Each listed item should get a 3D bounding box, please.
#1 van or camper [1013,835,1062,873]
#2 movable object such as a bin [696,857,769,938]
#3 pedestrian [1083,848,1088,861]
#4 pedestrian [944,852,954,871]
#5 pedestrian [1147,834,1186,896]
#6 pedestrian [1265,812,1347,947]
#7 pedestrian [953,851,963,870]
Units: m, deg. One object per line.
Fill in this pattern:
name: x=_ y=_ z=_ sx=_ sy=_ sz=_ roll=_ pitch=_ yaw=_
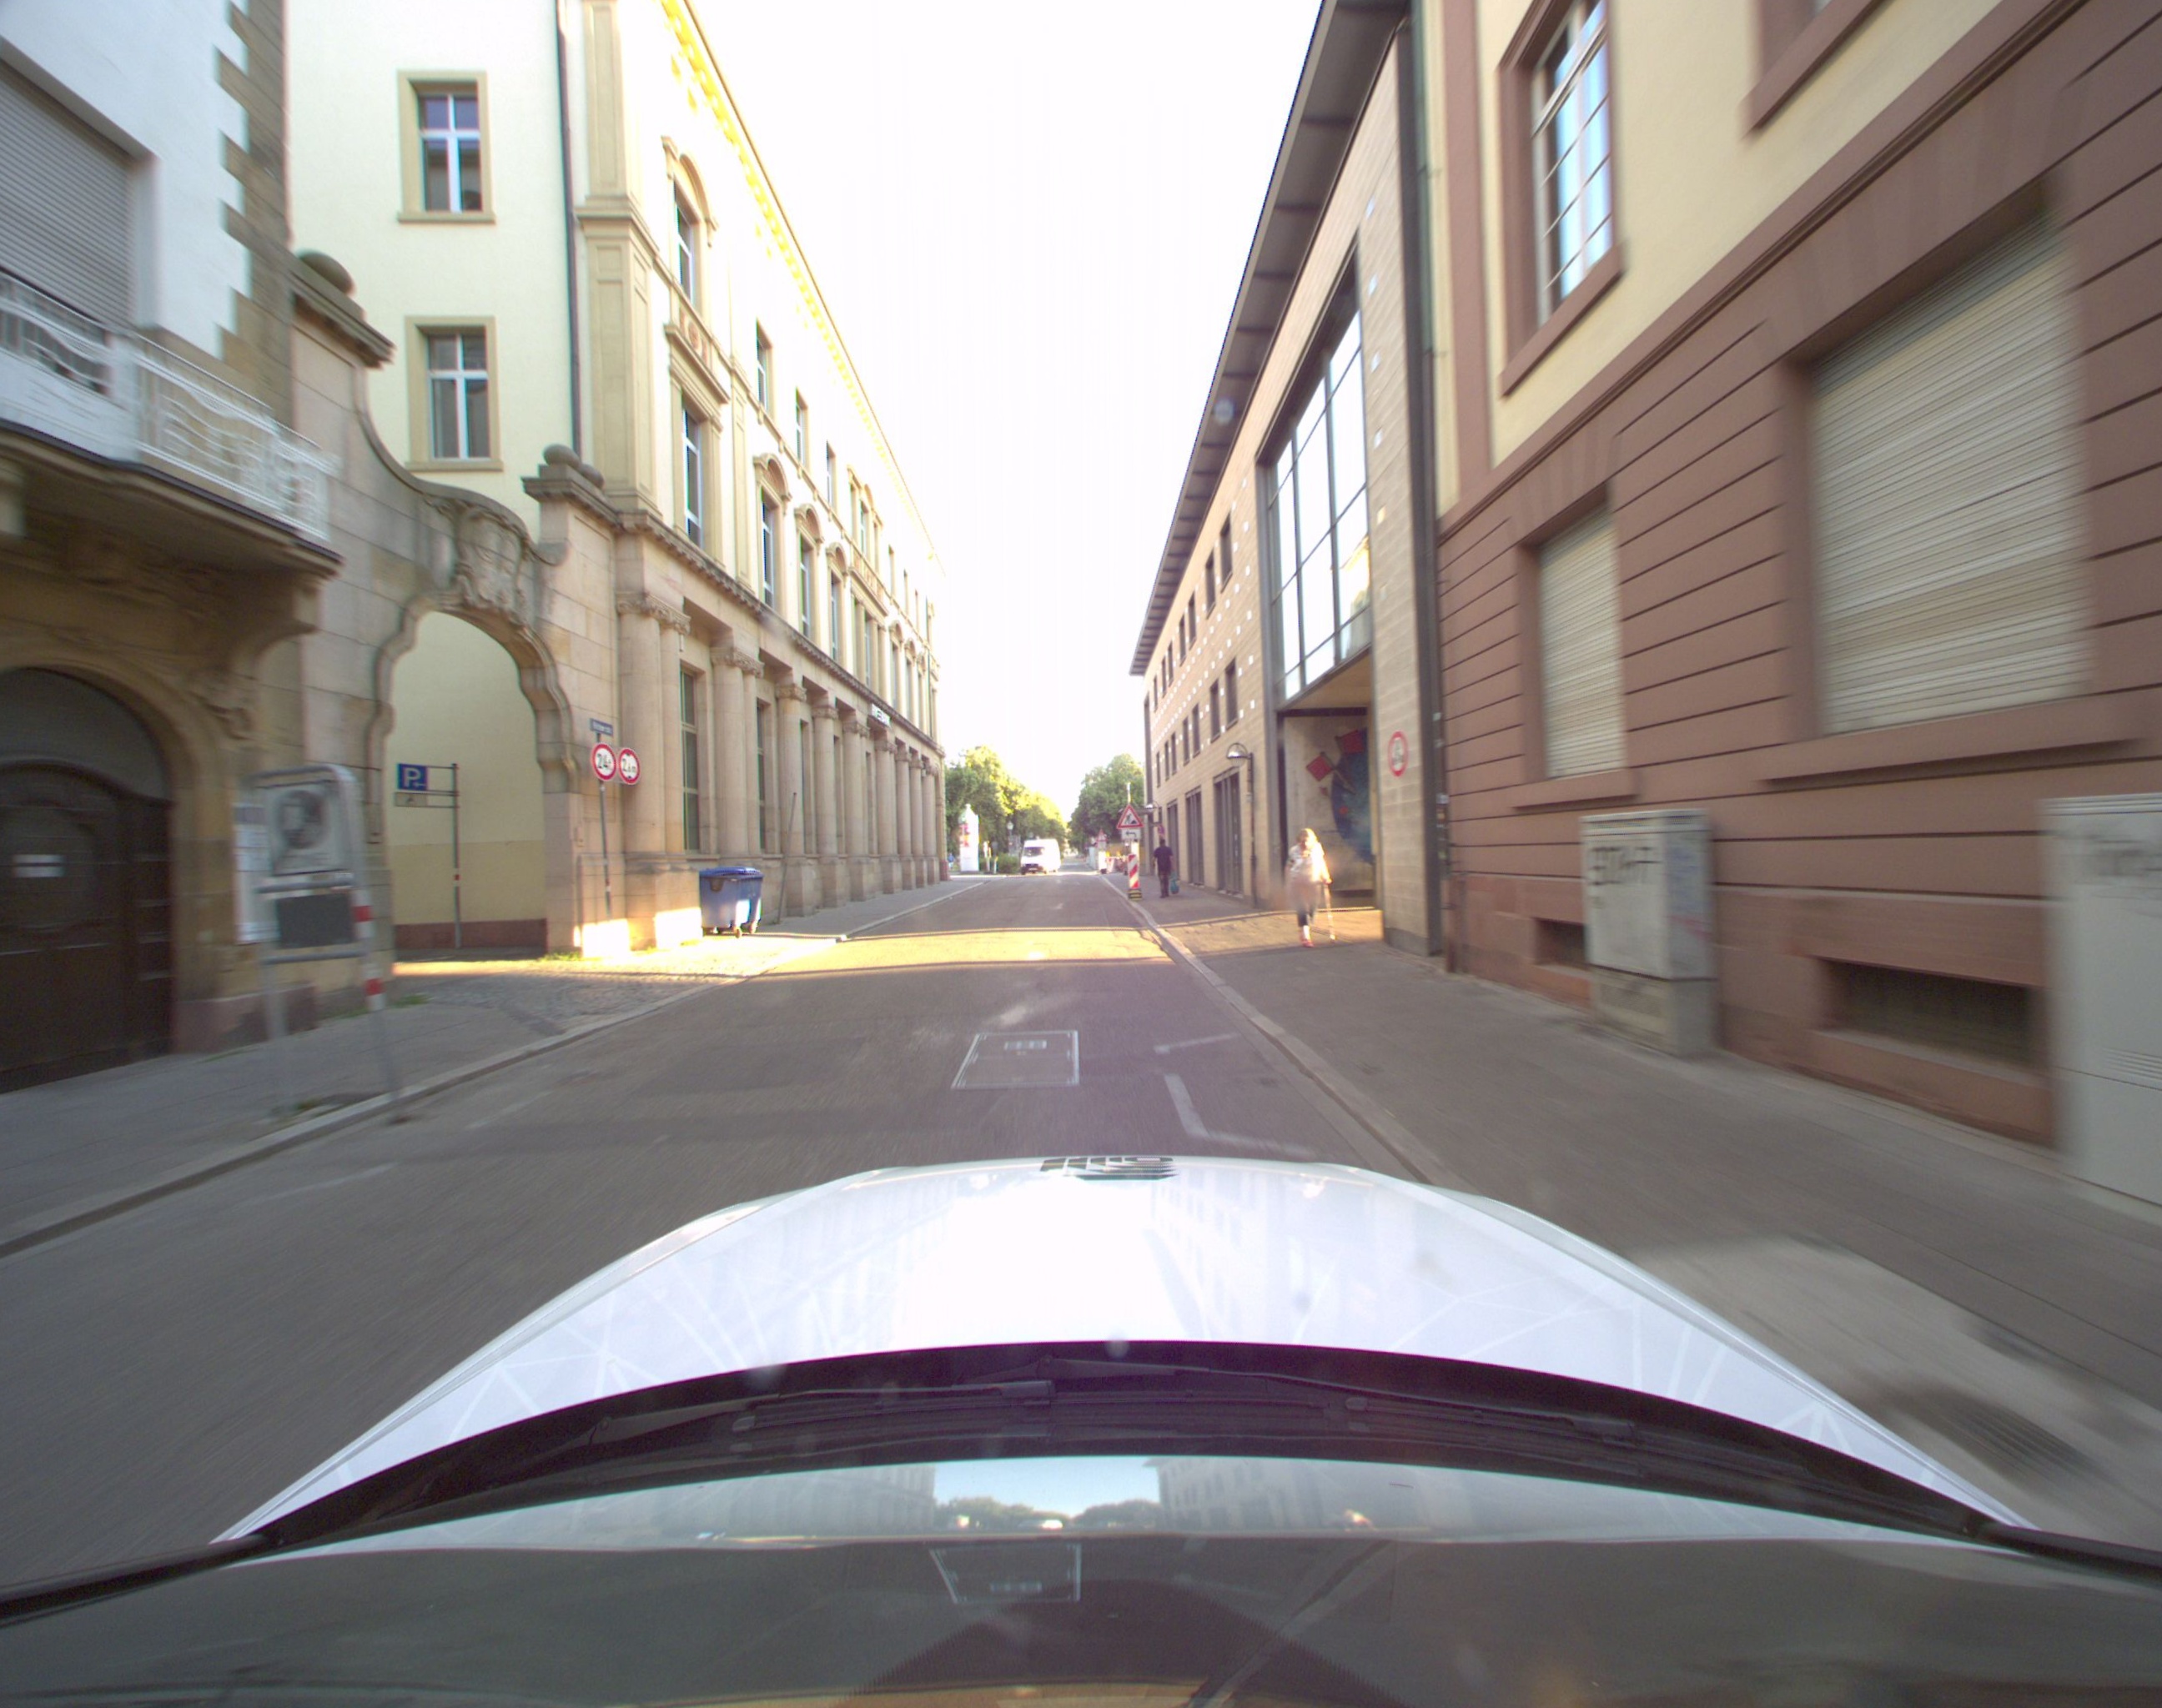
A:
van or camper: x=-3.094 y=-0.010 z=59.864 sx=2.206 sy=2.584 sz=6.389 roll=-2 pitch=0 yaw=9
movable object such as a bin: x=-6.822 y=0.823 z=16.001 sx=0.826 sy=1.503 sz=1.291 roll=-1 pitch=0 yaw=0
pedestrian: x=0.636 y=0.033 z=123.939 sx=0.581 sy=2.013 sz=0.679 roll=-1 pitch=0 yaw=-9
pedestrian: x=-12.591 y=0.683 z=77.534 sx=0.851 sy=1.807 sz=0.660 roll=-1 pitch=0 yaw=-14
pedestrian: x=2.583 y=0.325 z=24.760 sx=0.998 sy=1.803 sz=0.881 roll=-3 pitch=-1 yaw=-2
pedestrian: x=3.215 y=0.354 z=11.726 sx=0.841 sy=1.803 sz=0.898 roll=-5 pitch=0 yaw=4
pedestrian: x=-11.731 y=0.656 z=77.845 sx=0.851 sy=1.807 sz=0.660 roll=-1 pitch=0 yaw=-14
